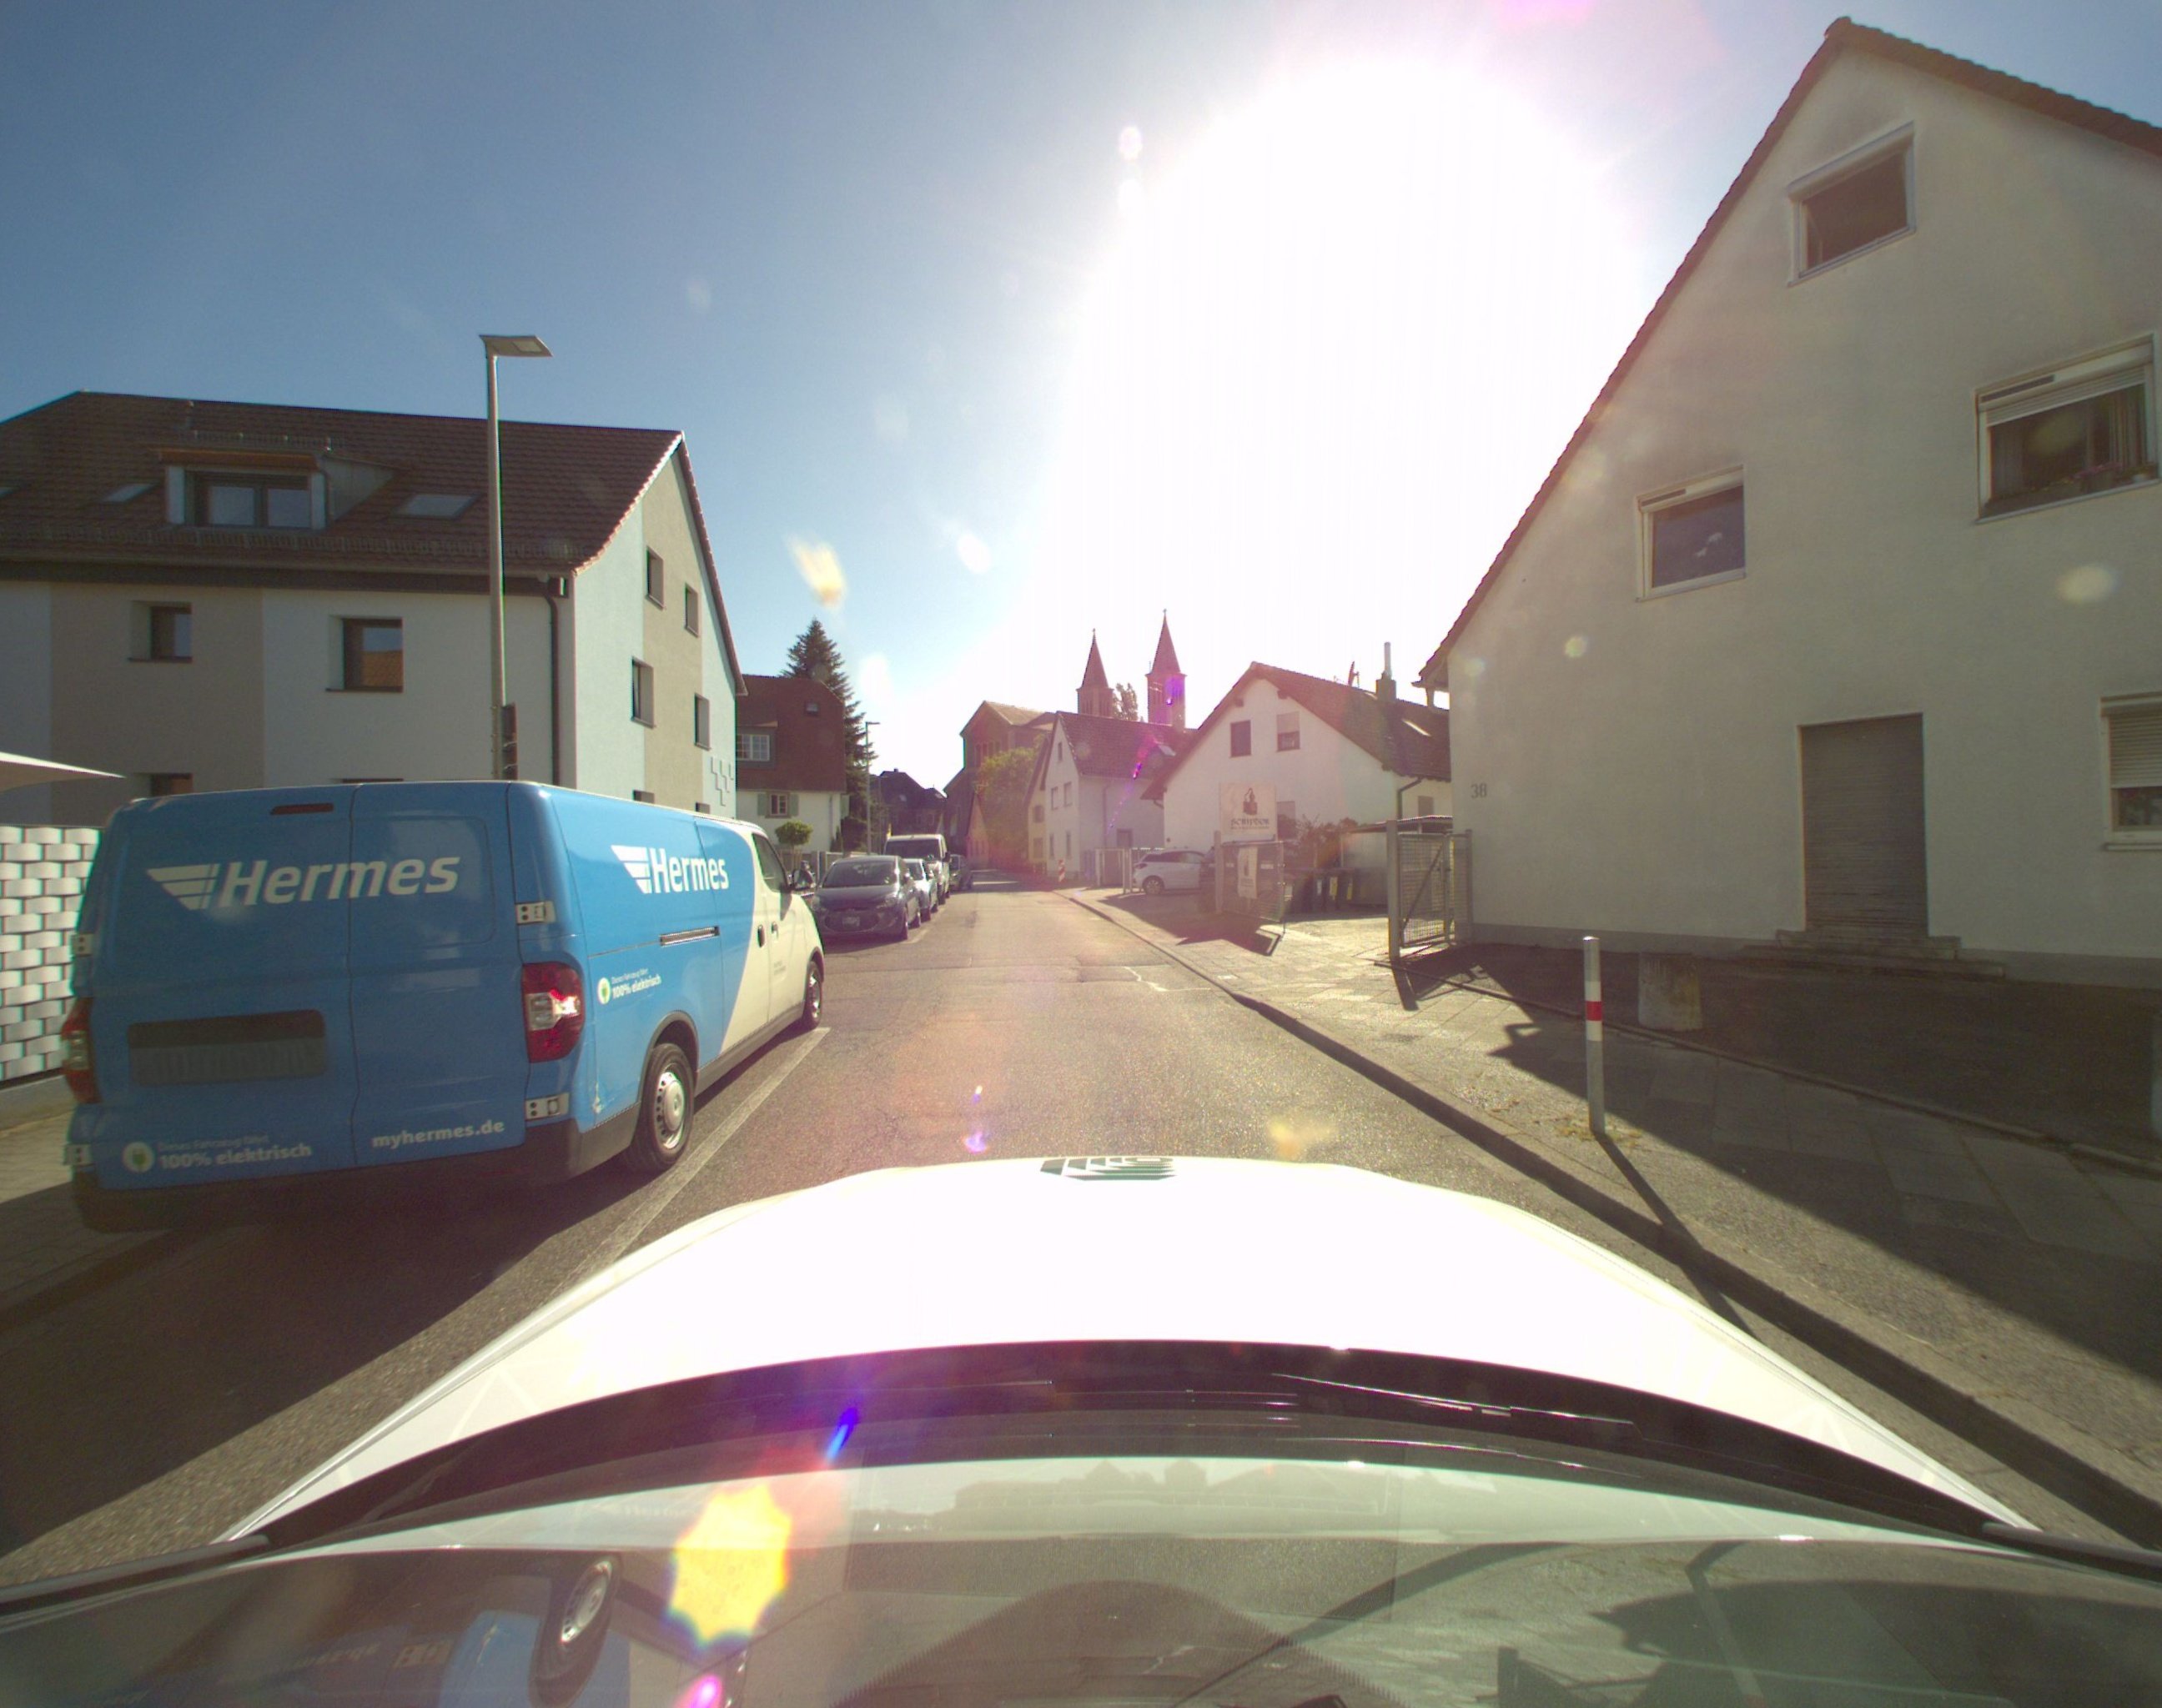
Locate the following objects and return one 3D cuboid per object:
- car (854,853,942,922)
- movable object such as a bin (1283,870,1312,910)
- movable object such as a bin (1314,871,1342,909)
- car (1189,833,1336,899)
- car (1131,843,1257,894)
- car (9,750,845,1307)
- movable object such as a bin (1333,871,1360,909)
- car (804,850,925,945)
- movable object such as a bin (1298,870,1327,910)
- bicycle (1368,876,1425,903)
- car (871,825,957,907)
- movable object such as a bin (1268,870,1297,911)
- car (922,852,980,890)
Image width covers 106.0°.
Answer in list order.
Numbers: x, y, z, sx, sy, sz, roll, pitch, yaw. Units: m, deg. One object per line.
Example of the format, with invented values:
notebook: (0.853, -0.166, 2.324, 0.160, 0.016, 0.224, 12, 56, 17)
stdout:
car: (-4.556, 0.772, 20.819, 1.710, 1.504, 4.225, -2, 0, -7)
movable object such as a bin: (5.118, 0.855, 19.251, 0.519, 0.923, 0.418, 2, -2, -36)
movable object such as a bin: (6.047, 0.875, 19.947, 0.519, 0.923, 0.418, 2, -2, -36)
car: (5.272, 0.302, 23.502, 4.066, 1.688, 1.891, -2, 1, -35)
car: (3.647, 0.469, 26.815, 3.897, 1.492, 1.848, -2, 0, 2)
car: (-3.066, 0.602, 5.501, 1.900, 1.917, 5.059, -2, 0, -6)
movable object such as a bin: (6.610, 0.889, 20.301, 0.519, 0.923, 0.418, 2, -2, -36)
car: (-4.173, 0.754, 16.278, 1.713, 1.598, 3.916, -2, 0, -7)
movable object such as a bin: (5.563, 0.862, 19.568, 0.519, 0.923, 0.418, 2, -2, -36)
bicycle: (8.202, 0.912, 21.207, 0.372, 0.656, 1.350, -2, 0, -40)
car: (-5.524, 0.347, 27.724, 2.195, 2.389, 6.050, -3, 1, -7)
movable object such as a bin: (4.677, 0.844, 18.891, 0.518, 0.923, 0.418, 2, -2, -34)
car: (-5.541, 0.700, 35.086, 1.565, 1.546, 2.973, -1, 0, 9)
